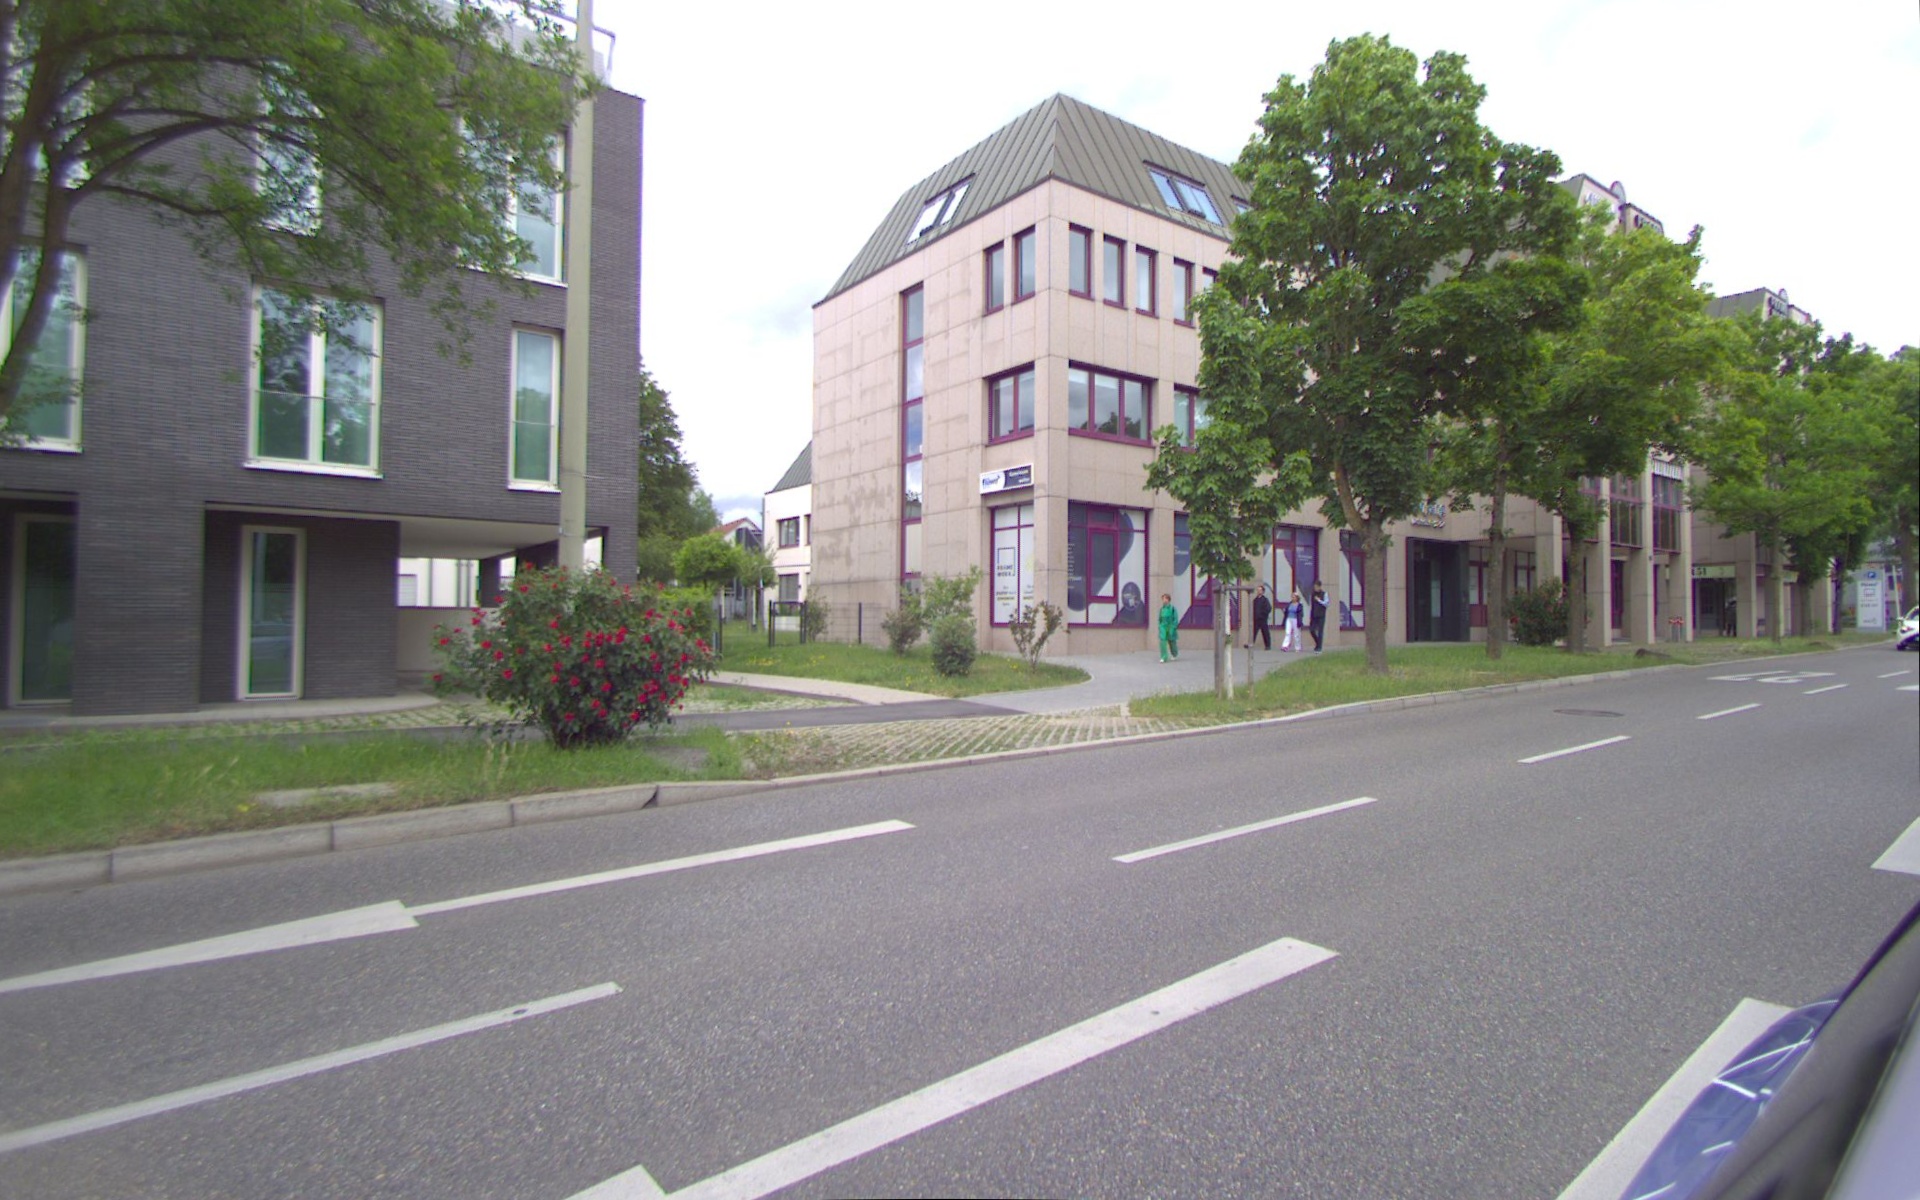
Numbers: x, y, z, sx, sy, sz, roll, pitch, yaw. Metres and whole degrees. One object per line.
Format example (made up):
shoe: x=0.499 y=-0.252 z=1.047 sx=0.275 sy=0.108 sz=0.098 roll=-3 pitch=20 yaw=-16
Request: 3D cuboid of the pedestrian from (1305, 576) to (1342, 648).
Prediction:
pedestrian: x=9.306 y=0.300 z=25.928 sx=0.665 sy=1.828 sz=0.642 roll=0 pitch=-1 yaw=-41

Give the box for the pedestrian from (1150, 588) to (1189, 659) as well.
pedestrian: x=4.661 y=0.510 z=22.511 sx=0.665 sy=1.537 sz=0.496 roll=0 pitch=2 yaw=-41

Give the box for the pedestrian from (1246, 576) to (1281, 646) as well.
pedestrian: x=8.105 y=0.296 z=27.013 sx=0.665 sy=1.828 sz=0.642 roll=0 pitch=-1 yaw=-41

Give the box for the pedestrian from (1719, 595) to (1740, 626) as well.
pedestrian: x=35.512 y=0.466 z=46.686 sx=0.510 sy=1.422 sz=0.667 roll=0 pitch=0 yaw=-39

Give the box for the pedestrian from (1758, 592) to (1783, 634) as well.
pedestrian: x=36.718 y=0.585 z=45.846 sx=0.932 sy=1.845 sz=0.718 roll=0 pitch=0 yaw=-41

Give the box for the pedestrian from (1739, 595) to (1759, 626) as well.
pedestrian: x=36.053 y=0.467 z=46.243 sx=0.629 sy=1.422 sz=0.607 roll=0 pitch=0 yaw=-38

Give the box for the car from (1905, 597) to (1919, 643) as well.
car: x=31.822 y=0.634 z=32.431 sx=3.469 sy=1.443 sz=1.658 roll=0 pitch=1 yaw=-37

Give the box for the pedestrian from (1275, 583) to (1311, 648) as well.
pedestrian: x=8.705 y=0.405 z=26.463 sx=0.665 sy=1.668 sz=0.642 roll=0 pitch=-1 yaw=-41
